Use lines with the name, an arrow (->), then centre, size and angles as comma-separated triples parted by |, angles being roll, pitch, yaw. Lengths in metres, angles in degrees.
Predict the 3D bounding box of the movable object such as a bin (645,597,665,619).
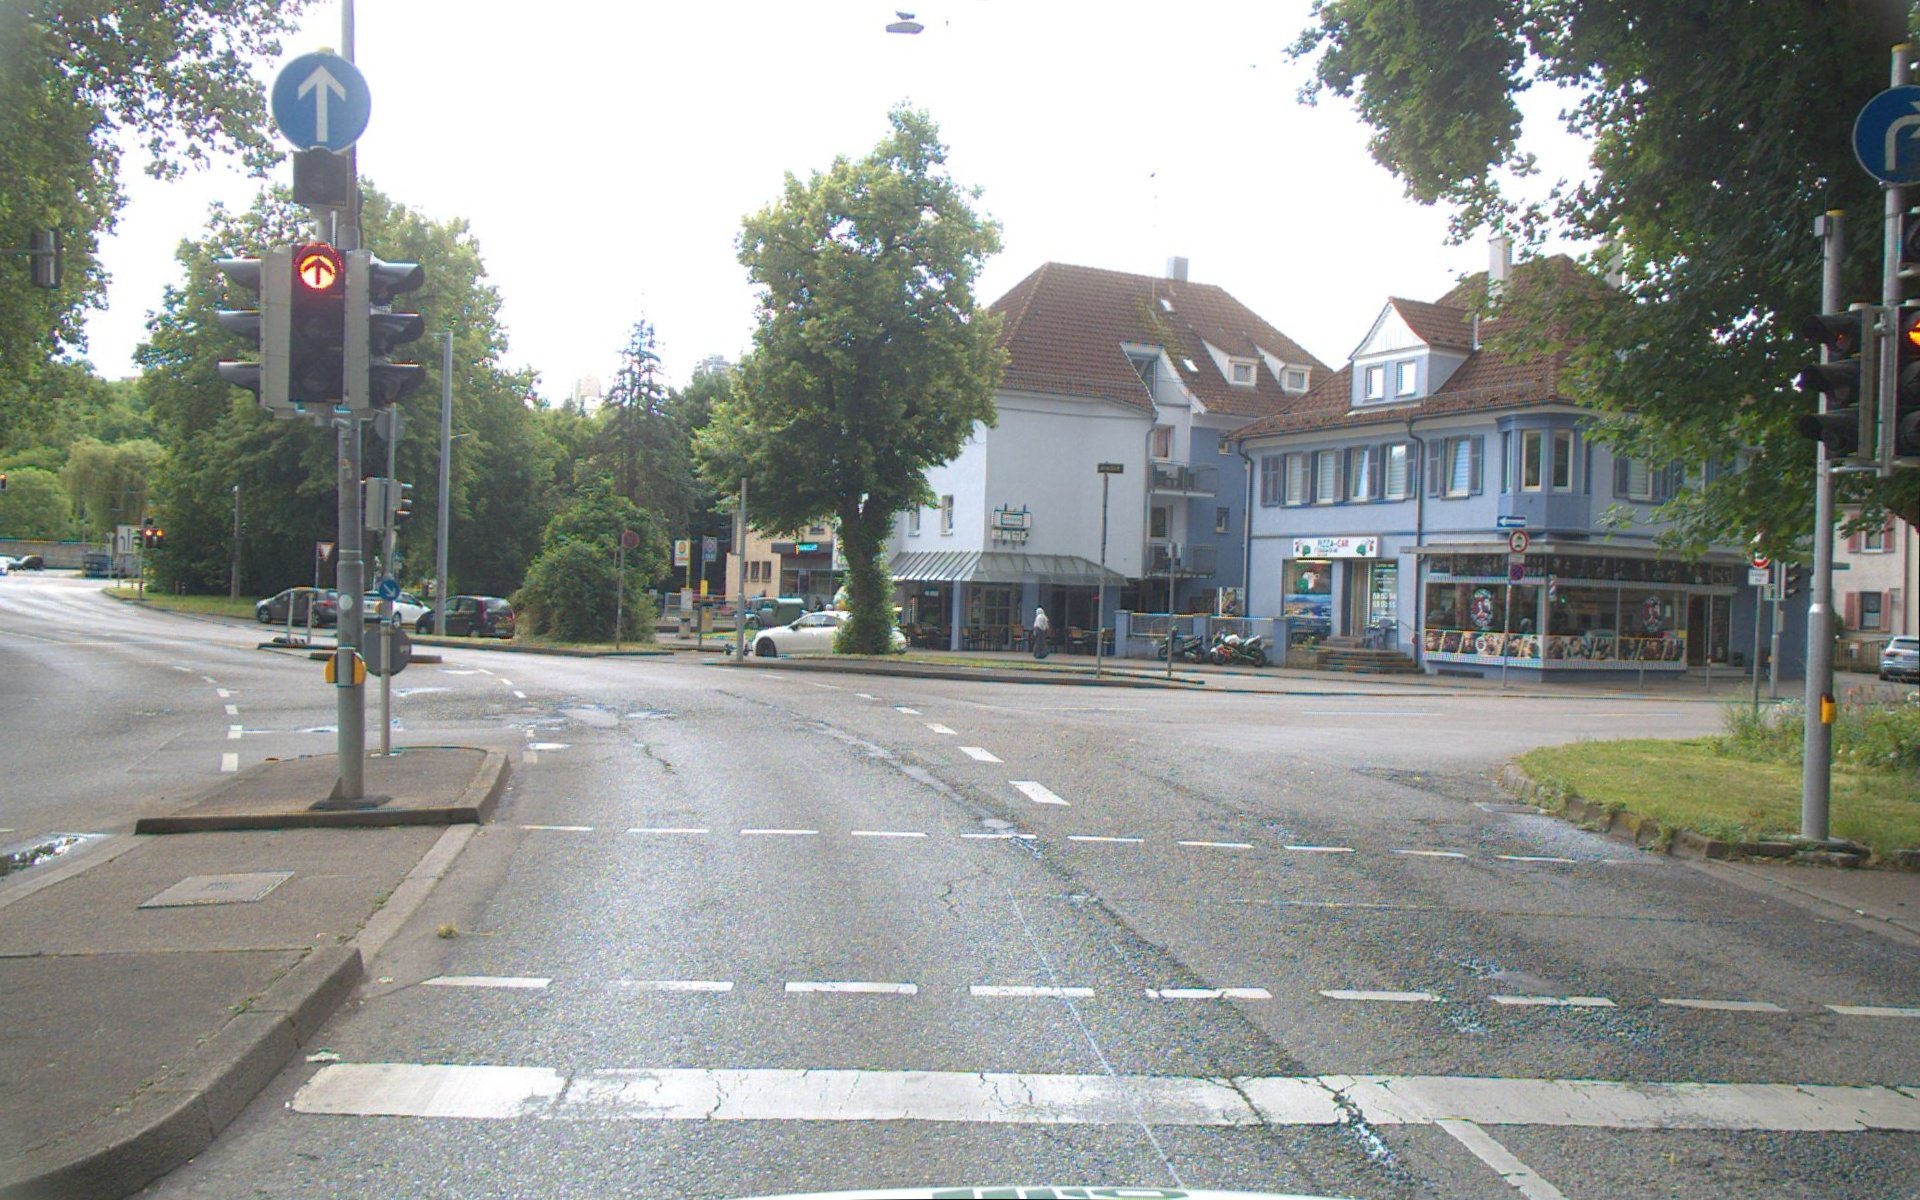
movable object such as a bin -> -15.849, 0.398, 85.917 | 0.937, 1.135, 0.381 | 1, 0, -22

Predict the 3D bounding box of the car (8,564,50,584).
car -> -102.204, -2.826, 181.500 | 3.948, 2.049, 1.978 | 1, 0, -32

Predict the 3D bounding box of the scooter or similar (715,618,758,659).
scooter or similar -> -5.730, 0.986, 42.543 | 0.408, 1.029, 1.567 | 1, 0, 20

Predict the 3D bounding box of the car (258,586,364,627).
car -> -24.858, 0.248, 63.397 | 3.469, 1.490, 1.586 | 1, 0, 12

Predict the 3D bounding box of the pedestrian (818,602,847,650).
pedestrian -> -4.290, 0.878, 55.716 | 0.694, 1.572, 0.675 | 1, 0, 39

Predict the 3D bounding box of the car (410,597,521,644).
car -> -16.006, 0.663, 53.464 | 3.519, 1.418, 1.468 | 1, 0, 32

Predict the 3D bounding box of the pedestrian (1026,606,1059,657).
pedestrian -> 2.582, 0.978, 51.589 | 0.754, 1.572, 0.675 | 1, -1, 38

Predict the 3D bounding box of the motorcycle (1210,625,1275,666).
motorcycle -> 8.273, 1.314, 48.481 | 1.765, 1.141, 0.692 | 1, 0, 38

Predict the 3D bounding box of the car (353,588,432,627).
car -> -22.667, 0.310, 66.187 | 1.512, 1.490, 3.398 | 1, 0, 10

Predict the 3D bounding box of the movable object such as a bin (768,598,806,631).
movable object such as a bin -> -7.716, 0.661, 73.843 | 1.424, 1.433, 0.959 | 1, 0, -27

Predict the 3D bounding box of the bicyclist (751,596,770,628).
bicyclist -> -10.017, 0.617, 83.043 | 0.724, 1.568, 0.598 | 1, 0, 33

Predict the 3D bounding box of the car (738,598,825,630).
car -> -8.155, 0.645, 75.734 | 3.690, 1.368, 1.421 | 1, 0, -27

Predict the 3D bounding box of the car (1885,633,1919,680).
car -> 29.852, 1.742, 51.412 | 1.471, 1.393, 3.164 | 1, 0, 38

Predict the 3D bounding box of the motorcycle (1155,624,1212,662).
motorcycle -> 6.793, 1.297, 50.237 | 1.609, 1.082, 0.690 | 1, 0, 44

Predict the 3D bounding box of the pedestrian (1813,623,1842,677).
pedestrian -> 24.922, 1.435, 47.528 | 0.451, 1.544, 0.584 | 1, -1, -21

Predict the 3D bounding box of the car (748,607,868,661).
car -> -4.244, 0.921, 45.960 | 3.110, 1.378, 1.435 | 1, 0, 34
